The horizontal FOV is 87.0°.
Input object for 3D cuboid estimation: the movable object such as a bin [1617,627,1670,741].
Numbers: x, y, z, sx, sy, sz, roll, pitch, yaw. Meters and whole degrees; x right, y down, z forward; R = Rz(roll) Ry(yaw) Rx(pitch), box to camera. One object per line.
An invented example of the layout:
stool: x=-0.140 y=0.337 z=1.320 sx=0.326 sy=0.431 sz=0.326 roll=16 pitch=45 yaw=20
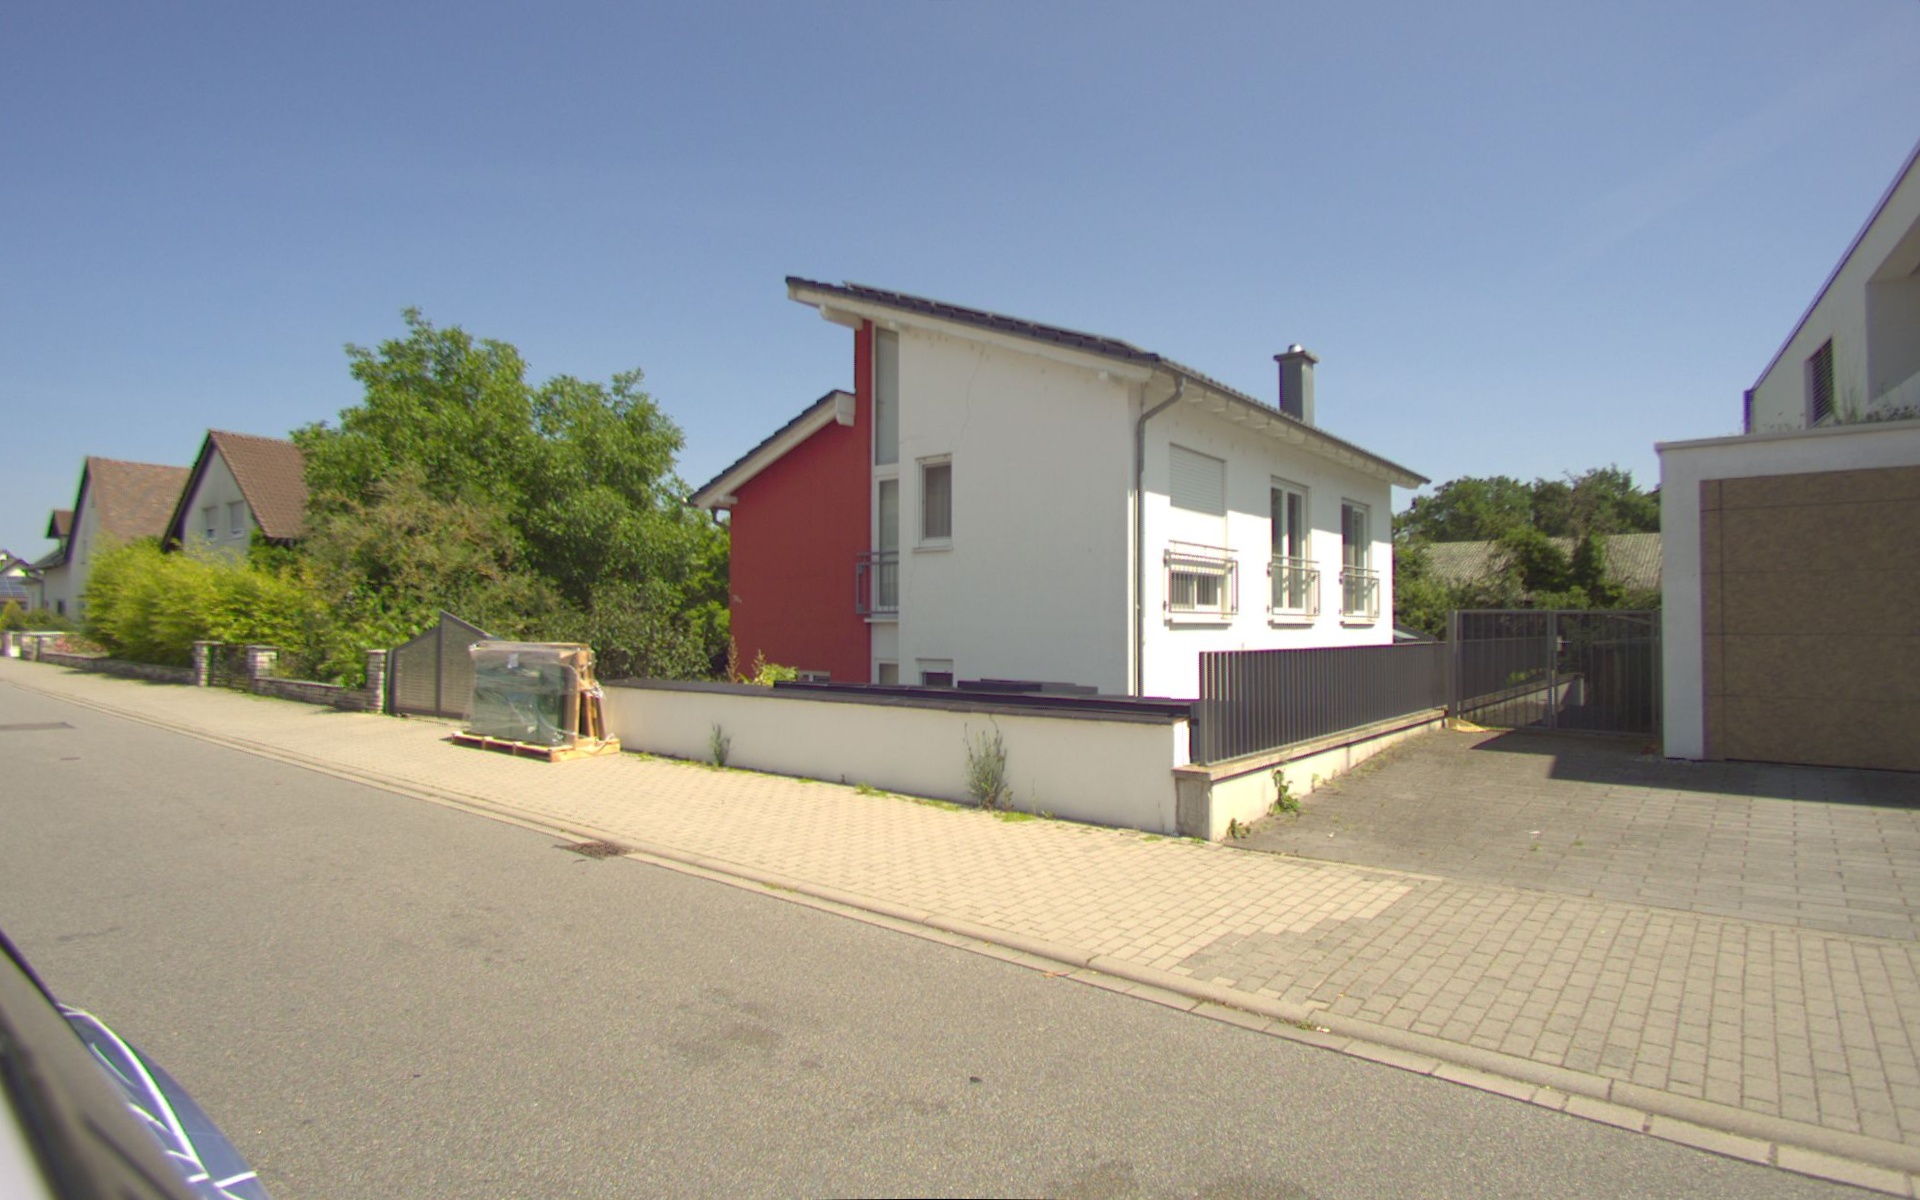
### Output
movable object such as a bin: x=8.792 y=1.062 z=13.014 sx=0.489 sy=1.430 sz=0.472 roll=-2 pitch=-3 yaw=41
